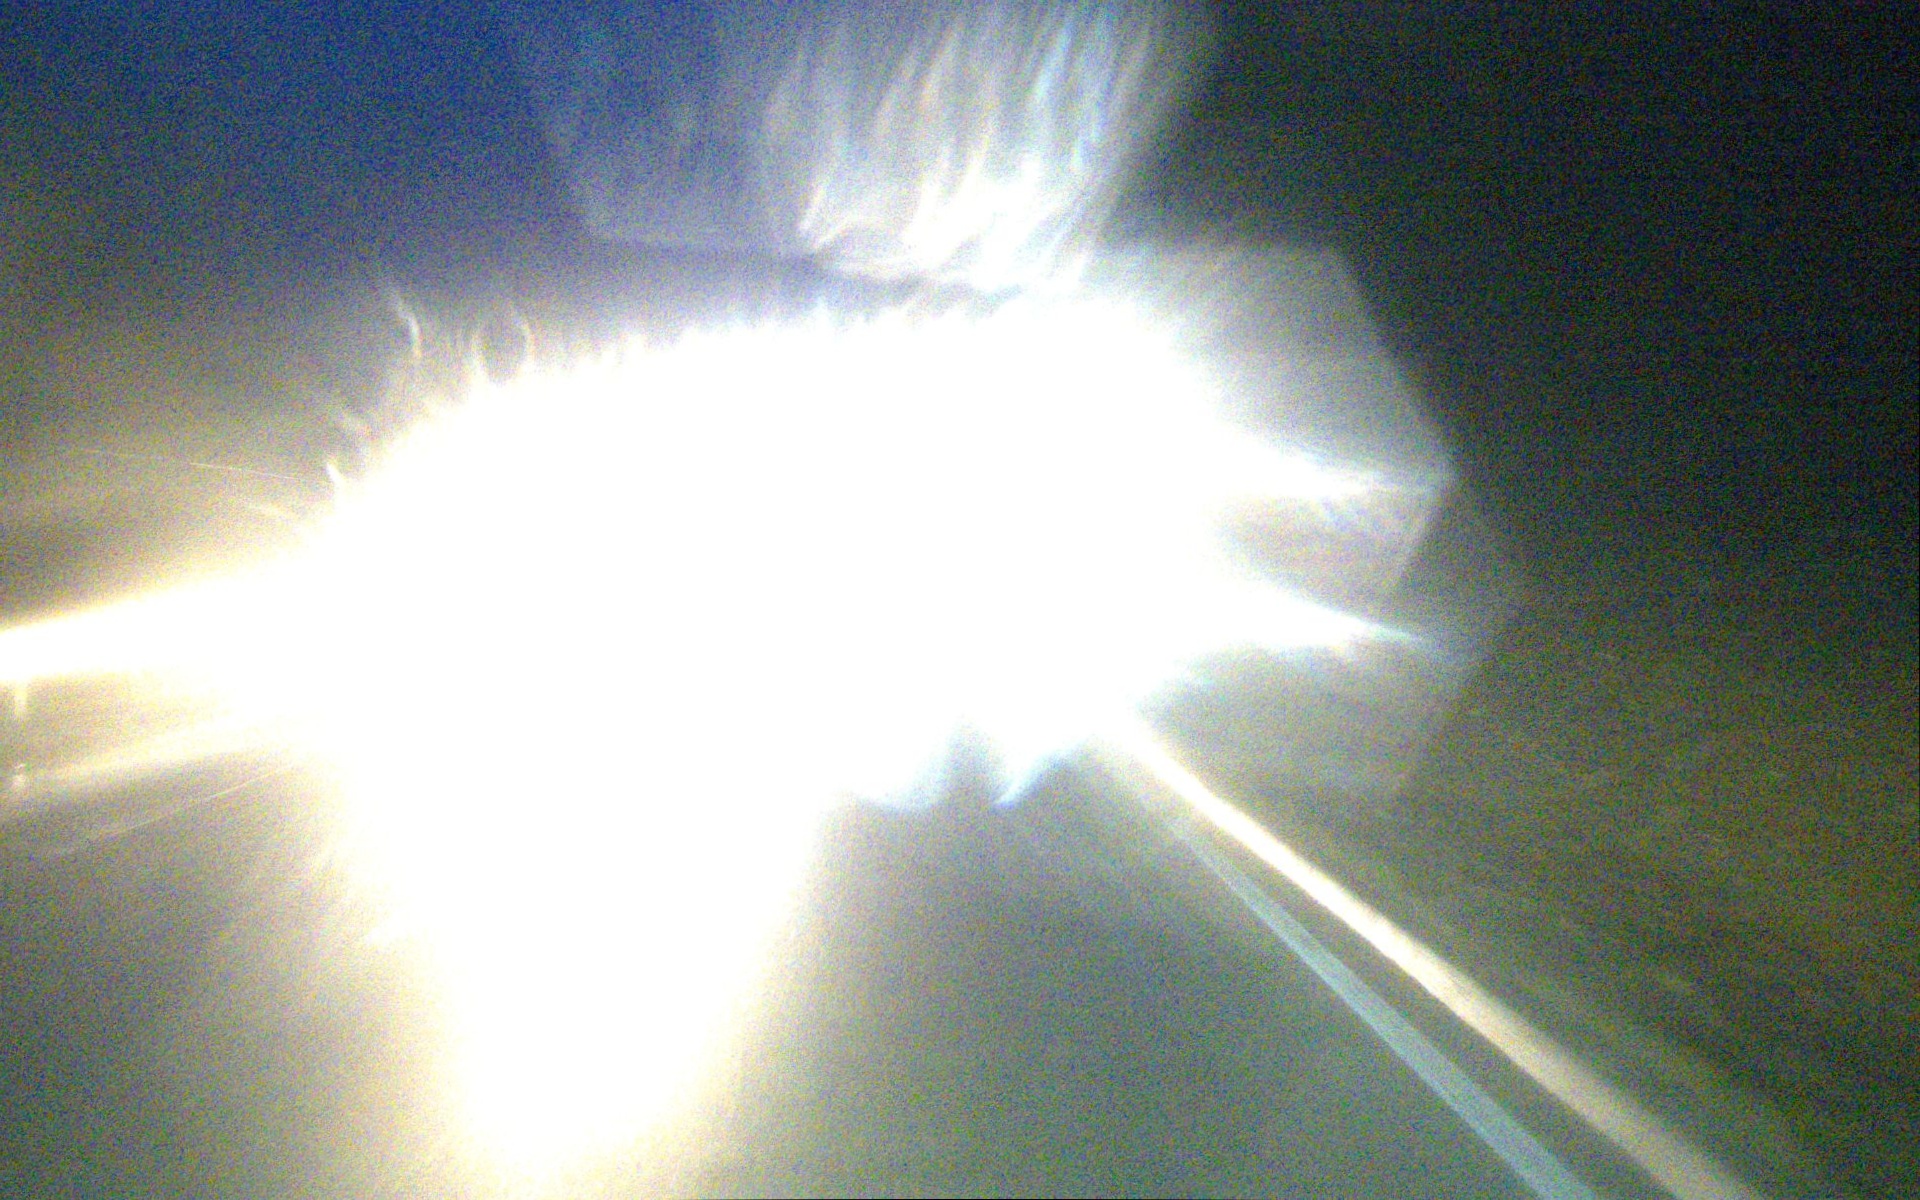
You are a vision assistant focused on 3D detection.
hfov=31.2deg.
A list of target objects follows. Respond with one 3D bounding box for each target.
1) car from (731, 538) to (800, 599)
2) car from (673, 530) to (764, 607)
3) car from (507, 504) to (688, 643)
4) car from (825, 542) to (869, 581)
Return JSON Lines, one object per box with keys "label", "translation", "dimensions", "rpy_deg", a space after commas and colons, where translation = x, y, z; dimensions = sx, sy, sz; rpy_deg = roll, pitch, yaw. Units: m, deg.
{"label": "car", "translation": [-4.950, -0.816, 87.790], "dimensions": [1.644, 1.420, 4.124], "rpy_deg": [3, 1, -3]}
{"label": "car", "translation": [-4.877, -0.662, 69.833], "dimensions": [1.644, 1.420, 3.659], "rpy_deg": [3, 1, -2]}
{"label": "car", "translation": [-4.459, -0.377, 42.878], "dimensions": [1.808, 1.594, 4.632], "rpy_deg": [1, 1, -1]}
{"label": "car", "translation": [-4.769, -1.648, 145.596], "dimensions": [1.716, 1.512, 3.878], "rpy_deg": [3, 1, -1]}
